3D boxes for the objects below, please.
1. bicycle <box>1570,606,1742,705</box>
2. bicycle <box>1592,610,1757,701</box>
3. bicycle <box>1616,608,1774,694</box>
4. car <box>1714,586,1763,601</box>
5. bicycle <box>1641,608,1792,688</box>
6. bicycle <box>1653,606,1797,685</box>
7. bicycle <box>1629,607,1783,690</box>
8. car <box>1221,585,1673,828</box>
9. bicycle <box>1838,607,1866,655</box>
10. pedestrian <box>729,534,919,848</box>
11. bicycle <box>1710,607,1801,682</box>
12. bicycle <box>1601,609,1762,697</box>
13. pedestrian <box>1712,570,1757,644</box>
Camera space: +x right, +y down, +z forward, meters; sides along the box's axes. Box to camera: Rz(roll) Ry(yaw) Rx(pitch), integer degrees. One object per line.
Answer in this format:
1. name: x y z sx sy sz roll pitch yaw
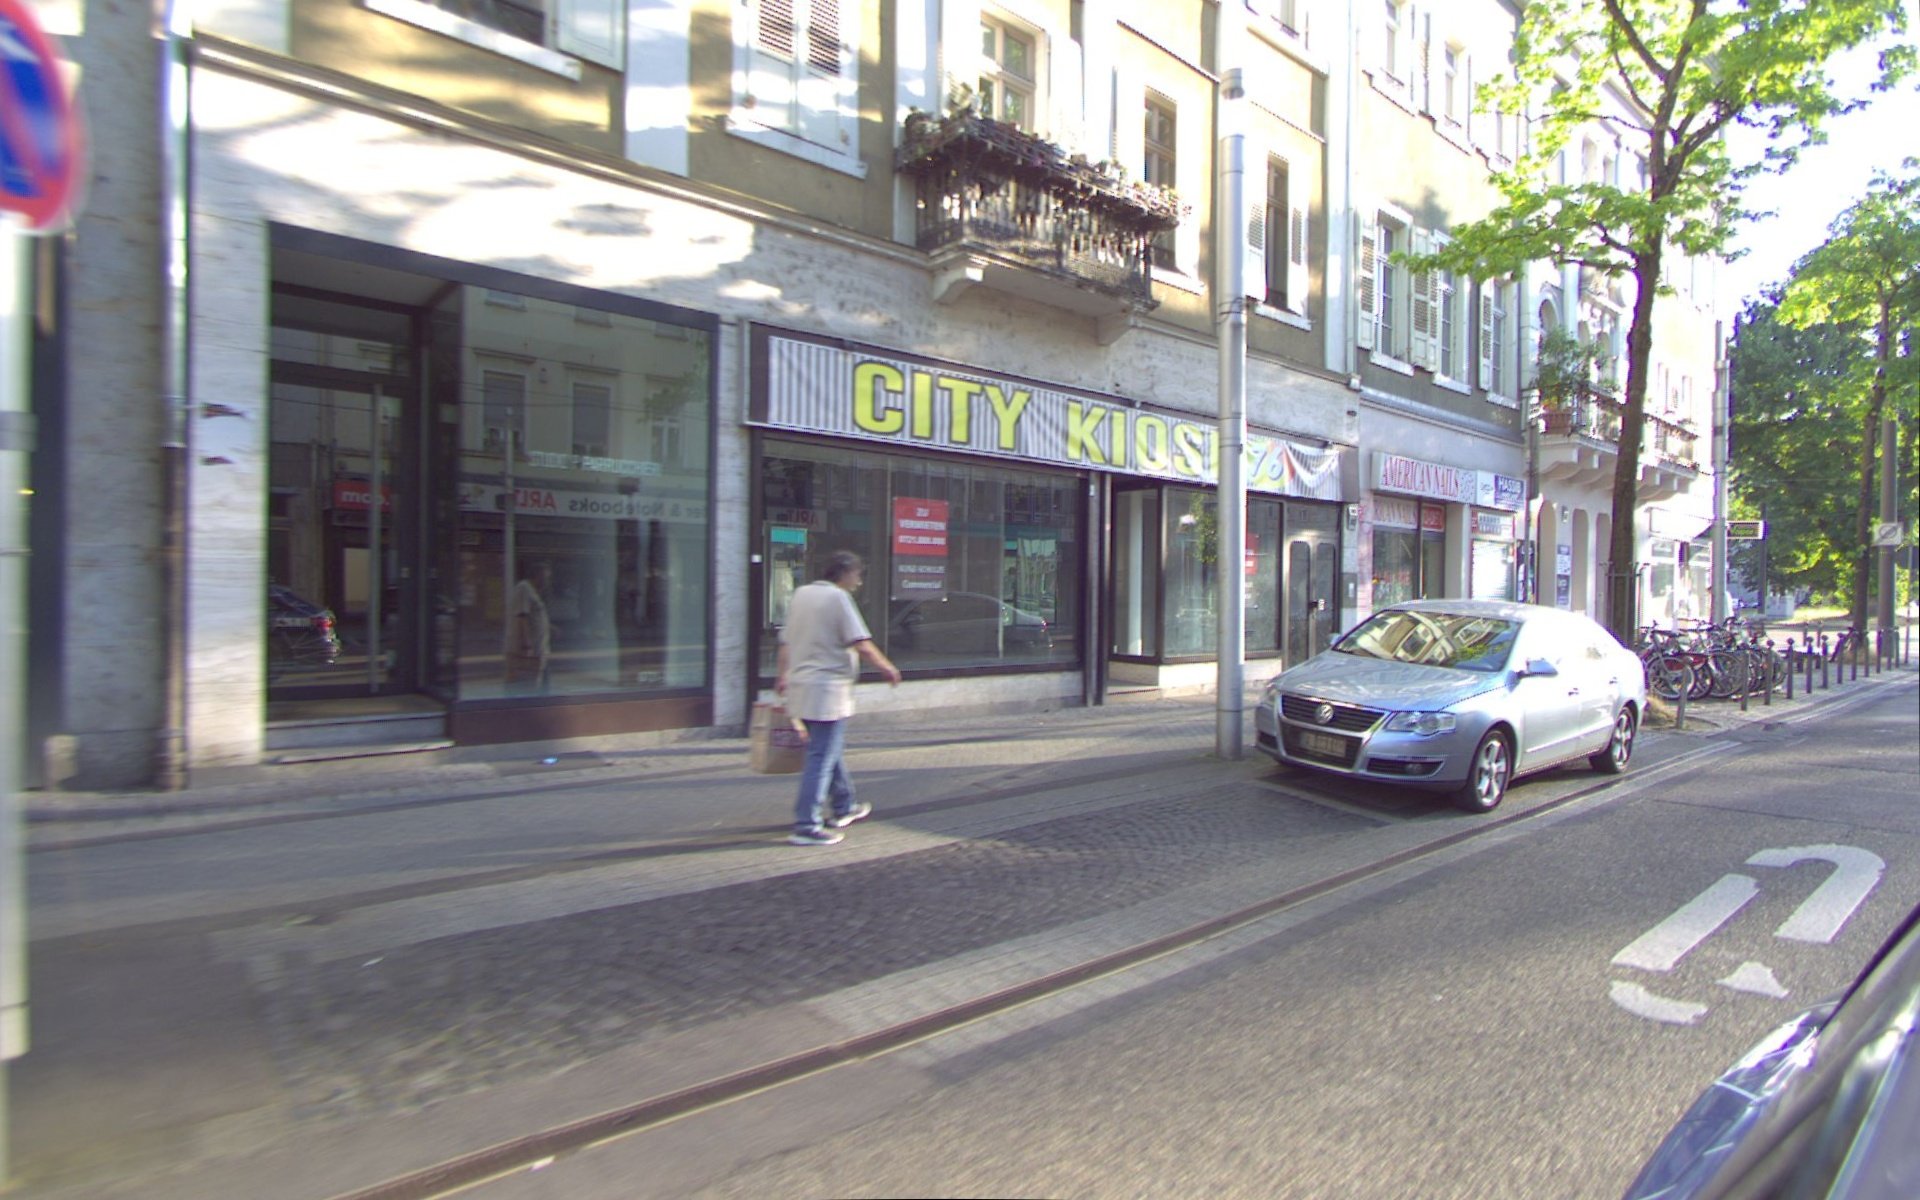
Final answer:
1. bicycle: 9.831 0.741 14.373 0.552 1.168 1.872 0 4 -38
2. bicycle: 10.363 0.763 14.751 0.552 1.169 1.871 0 2 -38
3. bicycle: 11.253 0.749 15.550 0.552 1.169 1.871 0 2 -38
4. car: 87.440 -0.710 113.617 4.428 1.625 2.004 0 1 -13
5. bicycle: 12.255 0.746 16.446 0.552 1.169 1.871 0 2 -38
6. bicycle: 12.687 0.725 16.849 0.341 1.169 1.871 0 2 -38
7. bicycle: 11.780 0.728 16.038 0.552 1.169 1.871 0 2 -38
8. car: 4.304 0.665 8.638 4.344 1.457 1.781 -1 5 -40
9. bicycle: 21.523 0.735 24.420 1.671 1.090 0.354 -1 2 -44
10. pedestrian: -0.803 0.467 5.912 0.742 1.663 0.805 1 2 -40
11. bicycle: 13.561 0.726 17.296 0.454 1.169 1.677 1 1 10
12. bicycle: 10.774 0.755 15.177 0.552 1.169 1.871 0 2 -38
13. pedestrian: 21.650 0.183 28.300 0.839 2.038 0.835 1 1 29
